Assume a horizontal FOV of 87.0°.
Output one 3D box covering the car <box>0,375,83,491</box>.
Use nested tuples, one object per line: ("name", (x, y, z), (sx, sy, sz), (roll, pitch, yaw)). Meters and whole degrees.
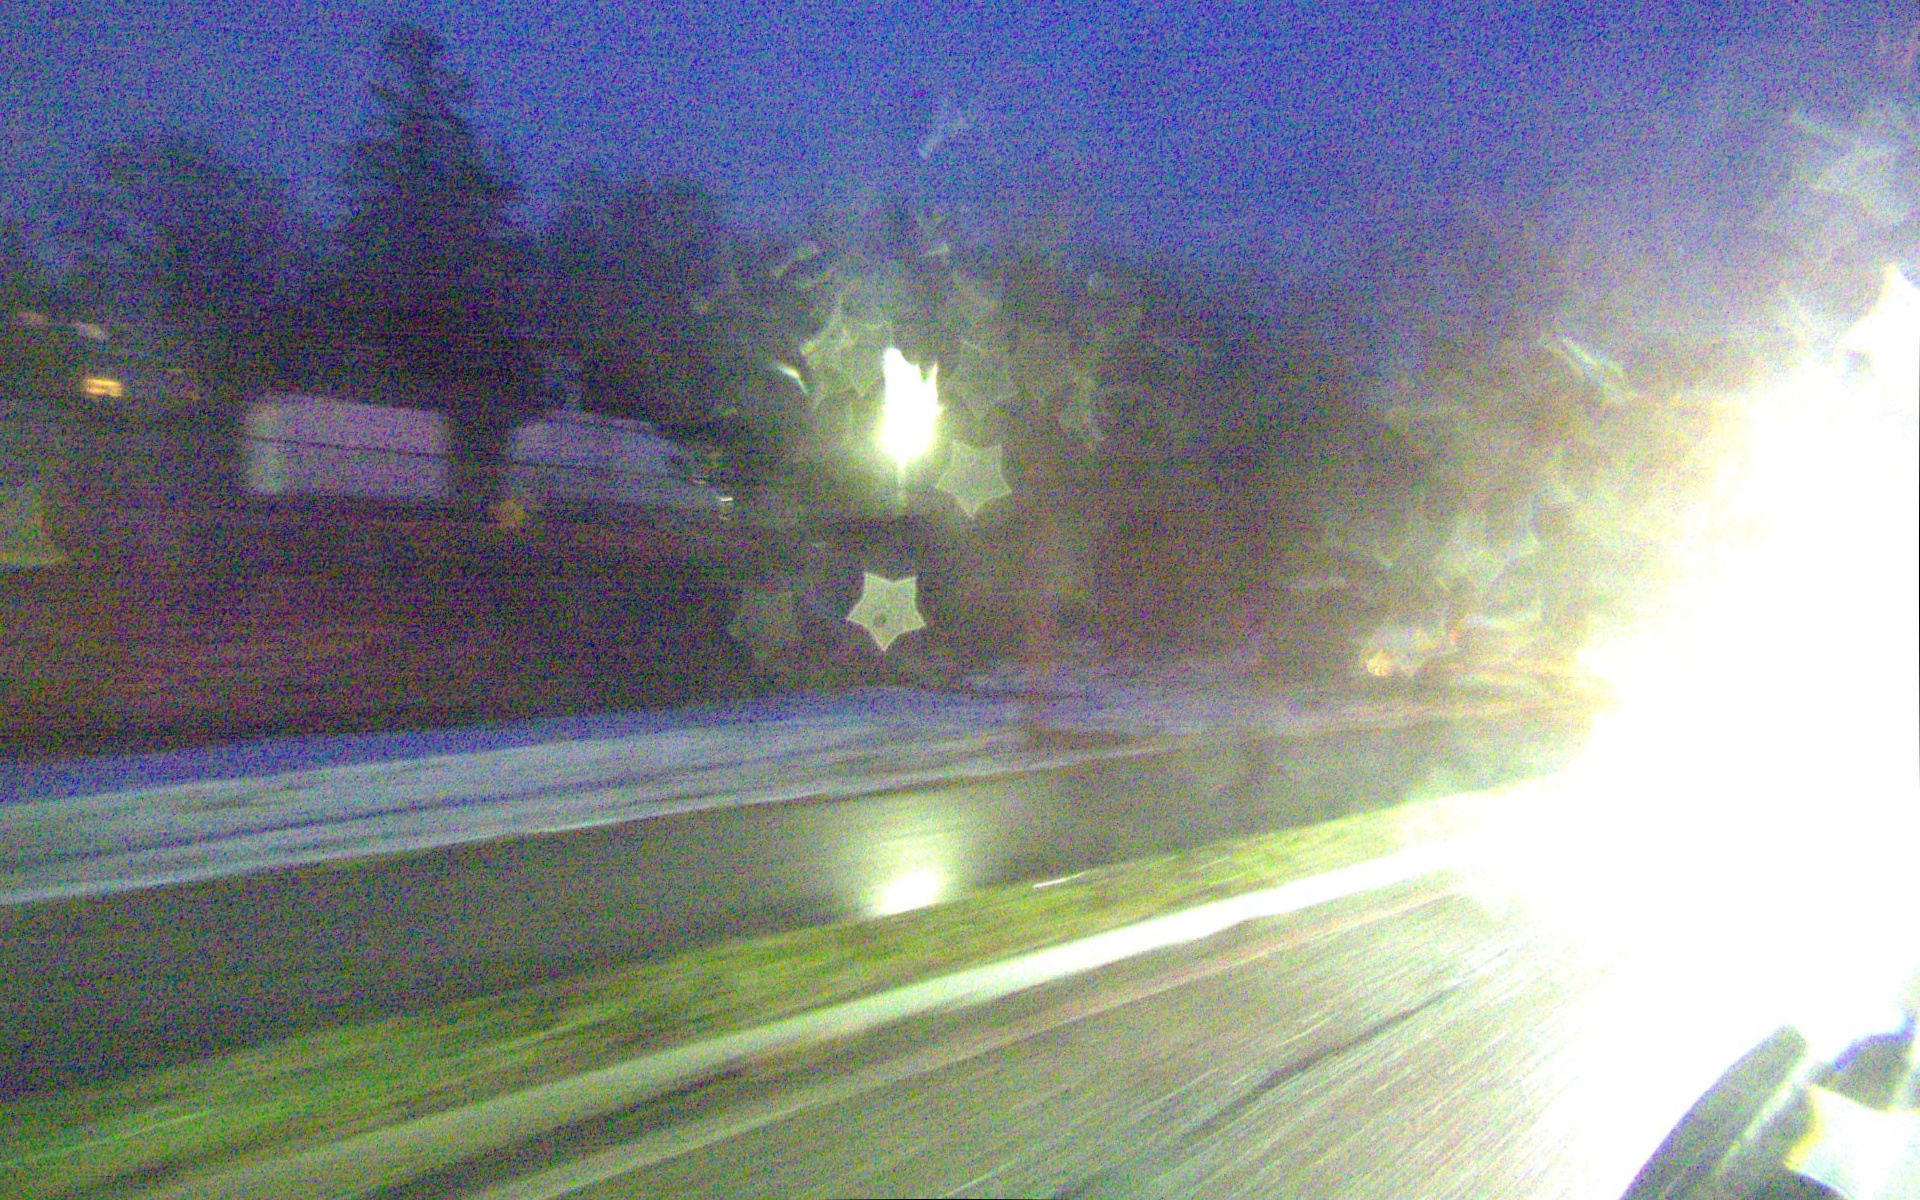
("car", (-16.380, -2.721, 15.702), (1.608, 1.660, 3.949), (0, 0, 35))

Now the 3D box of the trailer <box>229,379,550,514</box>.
("trailer", (-12.044, -3.117, 21.812), (2.221, 2.098, 5.643), (1, 1, 38))

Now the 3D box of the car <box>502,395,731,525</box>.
("car", (-8.746, -3.450, 26.244), (2.109, 2.668, 5.376), (1, 1, 38))
